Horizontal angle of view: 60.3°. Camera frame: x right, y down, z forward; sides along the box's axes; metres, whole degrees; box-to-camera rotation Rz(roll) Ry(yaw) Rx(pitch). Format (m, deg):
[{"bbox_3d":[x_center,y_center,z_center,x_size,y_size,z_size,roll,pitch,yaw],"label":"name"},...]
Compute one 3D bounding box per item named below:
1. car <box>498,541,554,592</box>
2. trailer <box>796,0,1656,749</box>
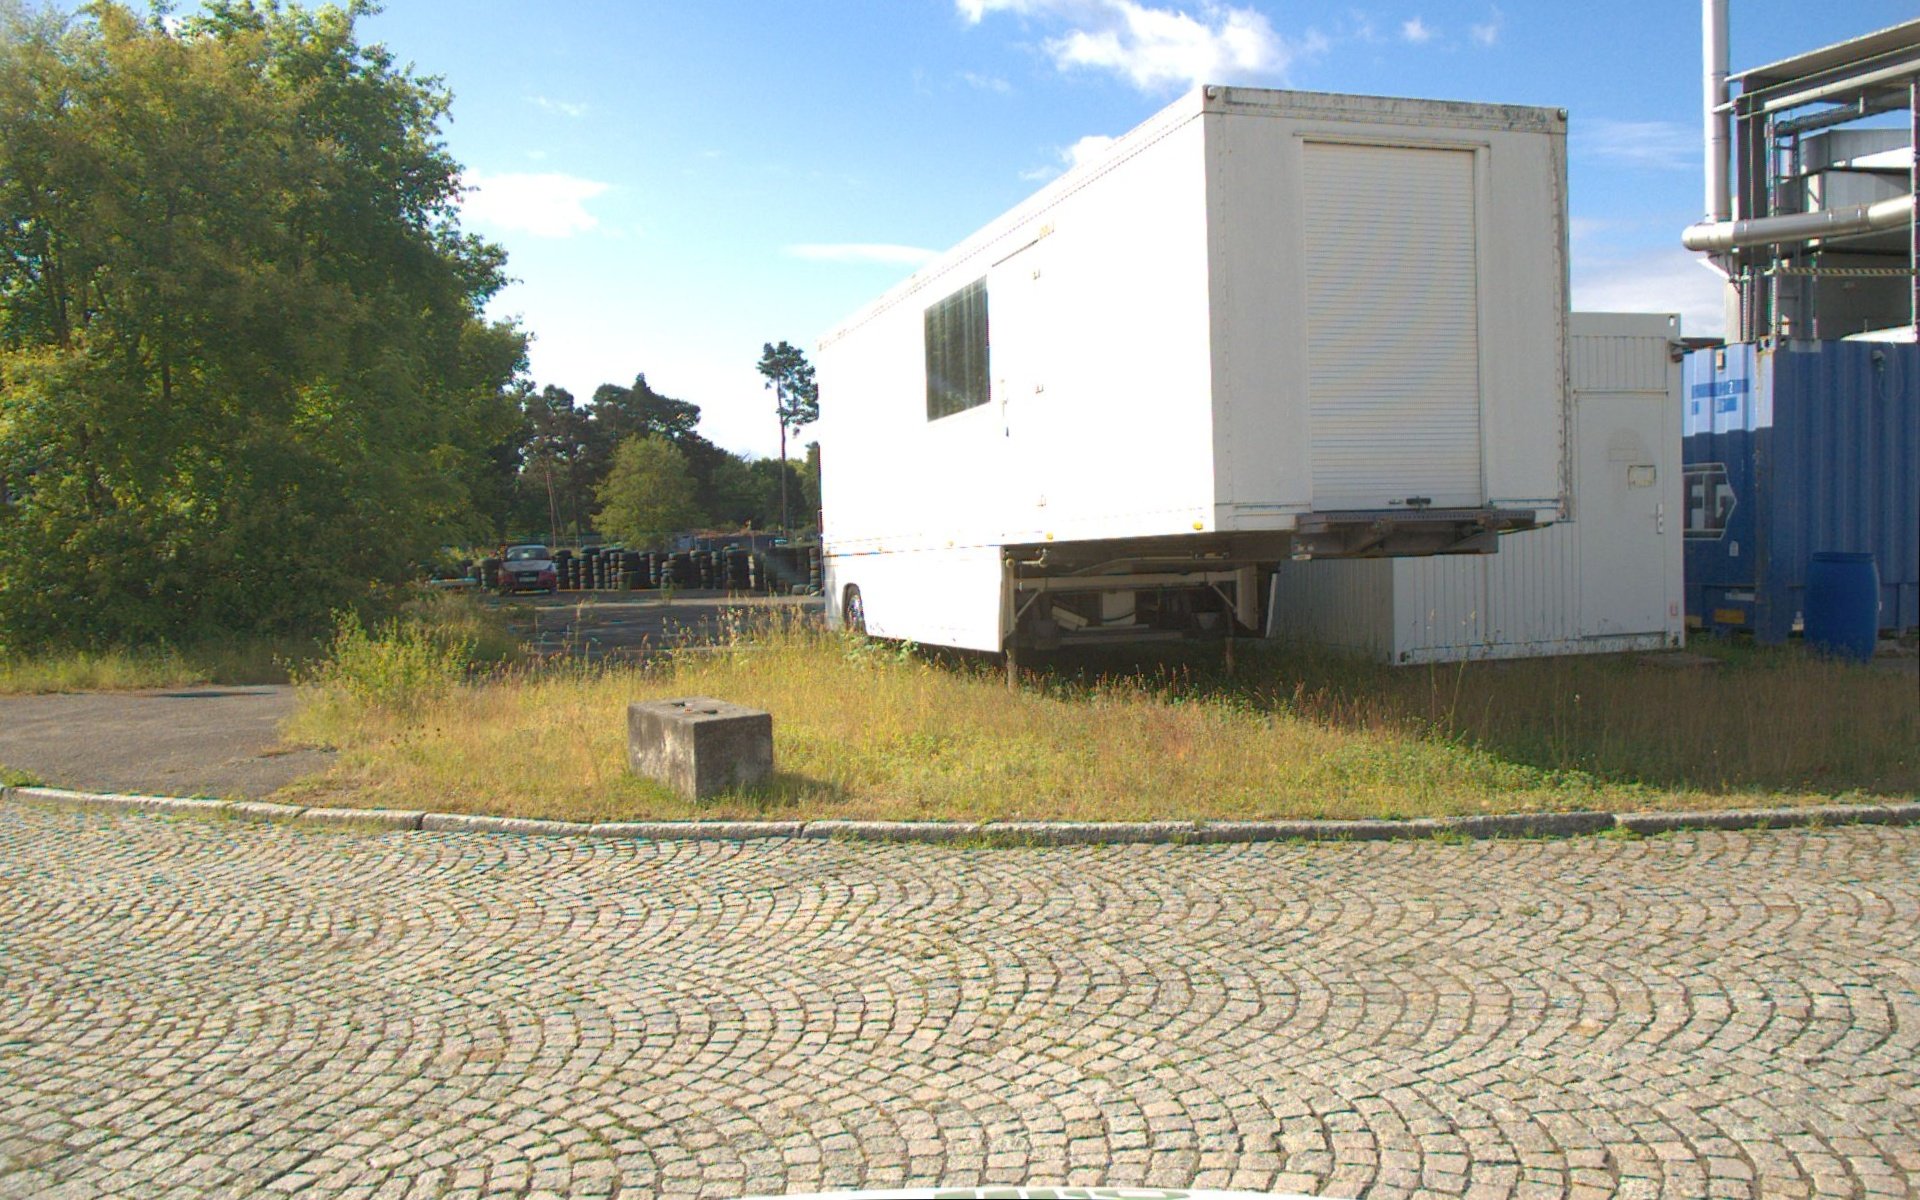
[{"bbox_3d":[-12.977,-1.014,49.618,1.515,1.431,3.565,-2,2,-14],"label":"car"},{"bbox_3d":[1.075,-1.414,14.247,2.729,3.978,10.834,-2,2,-17],"label":"trailer"}]
